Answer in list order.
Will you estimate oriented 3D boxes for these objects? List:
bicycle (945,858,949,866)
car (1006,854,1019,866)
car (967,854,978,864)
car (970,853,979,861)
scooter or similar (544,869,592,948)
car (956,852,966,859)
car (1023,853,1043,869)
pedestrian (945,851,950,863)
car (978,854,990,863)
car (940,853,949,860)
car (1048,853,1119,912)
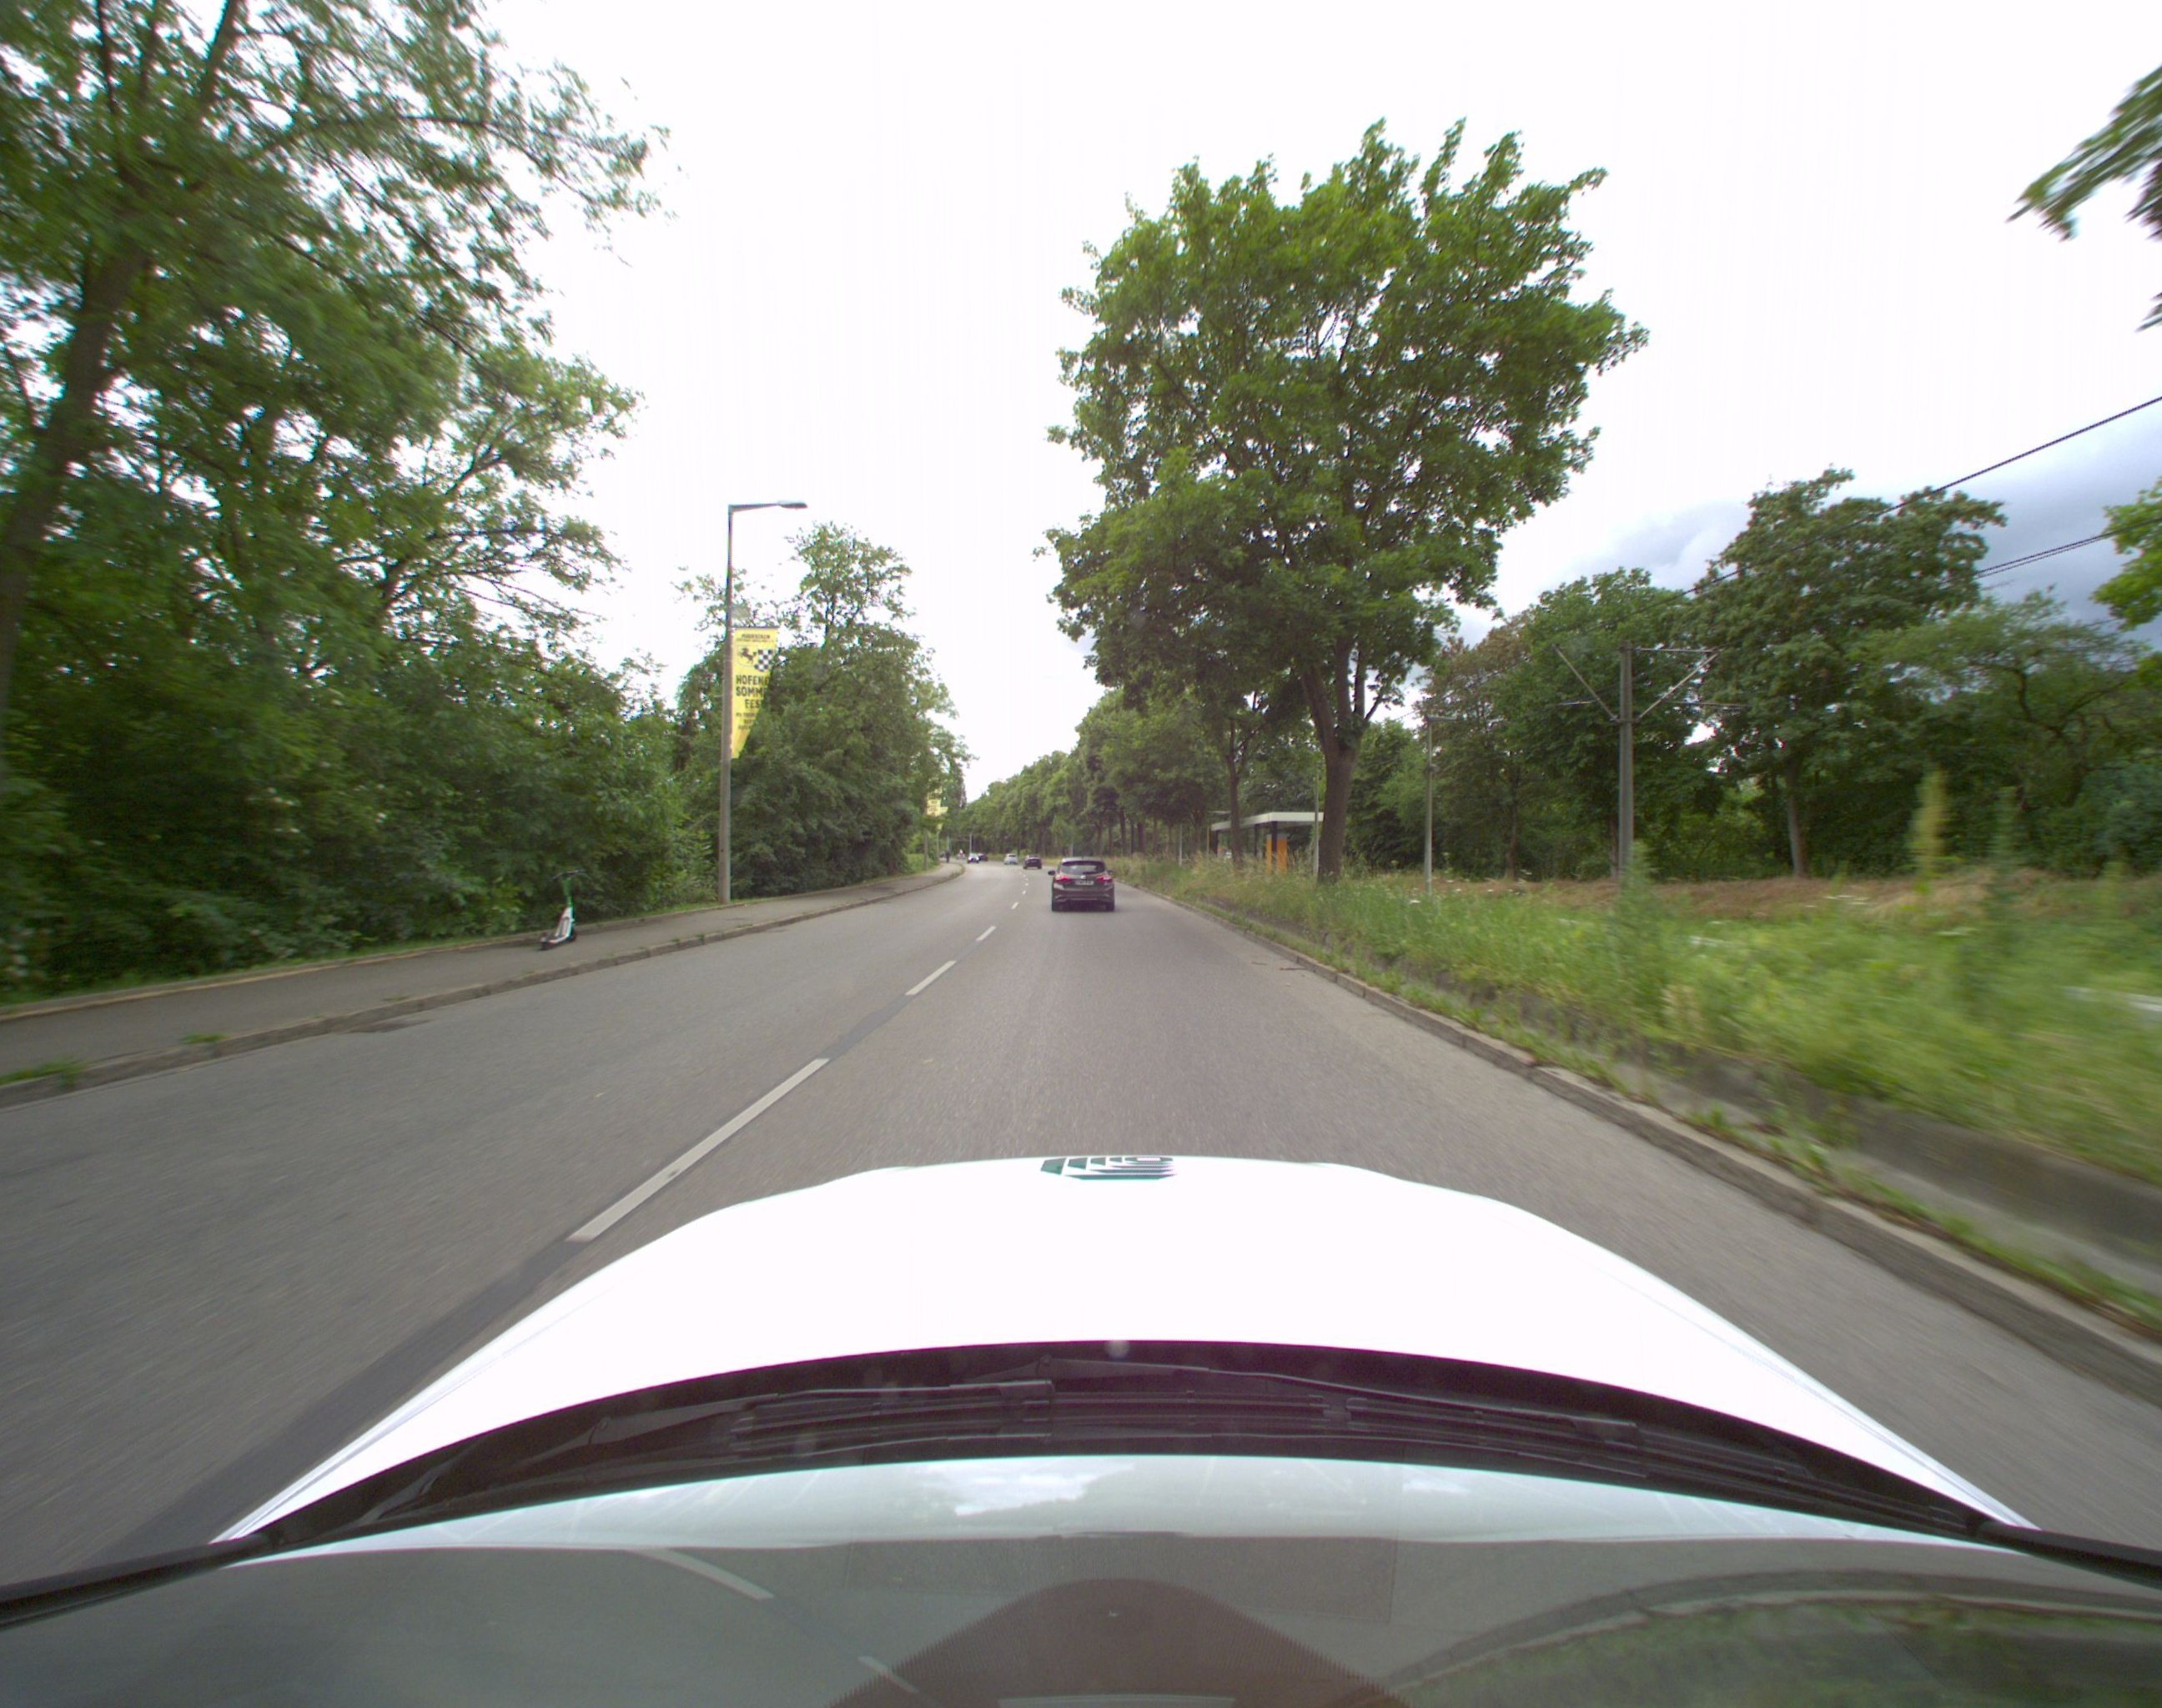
[{"bbox_3d":[-18.768,1.090,113.986,0.488,1.030,1.120,2,0,-10],"label":"bicycle"},{"bbox_3d":[-9.497,0.813,113.315,1.773,1.472,3.993,2,1,-5],"label":"car"},{"bbox_3d":[-16.880,0.794,126.675,1.595,1.506,3.020,-1,0,-8],"label":"car"},{"bbox_3d":[-21.282,0.621,162.461,1.774,1.472,3.991,1,1,-7],"label":"car"},{"bbox_3d":[-8.403,0.865,13.359,0.365,1.184,1.289,1,0,-20],"label":"scooter or similar"},{"bbox_3d":[-26.997,0.276,182.961,1.777,1.472,3.983,2,1,-12],"label":"car"},{"bbox_3d":[-4.989,0.695,84.274,1.773,1.472,3.993,2,1,-6],"label":"car"},{"bbox_3d":[-18.725,0.419,114.011,0.617,1.571,0.846,2,0,-10],"label":"pedestrian"},{"bbox_3d":[-17.632,0.758,148.245,1.777,1.472,3.983,2,1,-13],"label":"car"},{"bbox_3d":[-35.106,0.630,209.801,1.781,1.472,3.976,2,1,-18],"label":"car"},{"bbox_3d":[-0.003,0.765,23.923,1.812,1.508,3.995,-1,1,-4],"label":"car"}]
